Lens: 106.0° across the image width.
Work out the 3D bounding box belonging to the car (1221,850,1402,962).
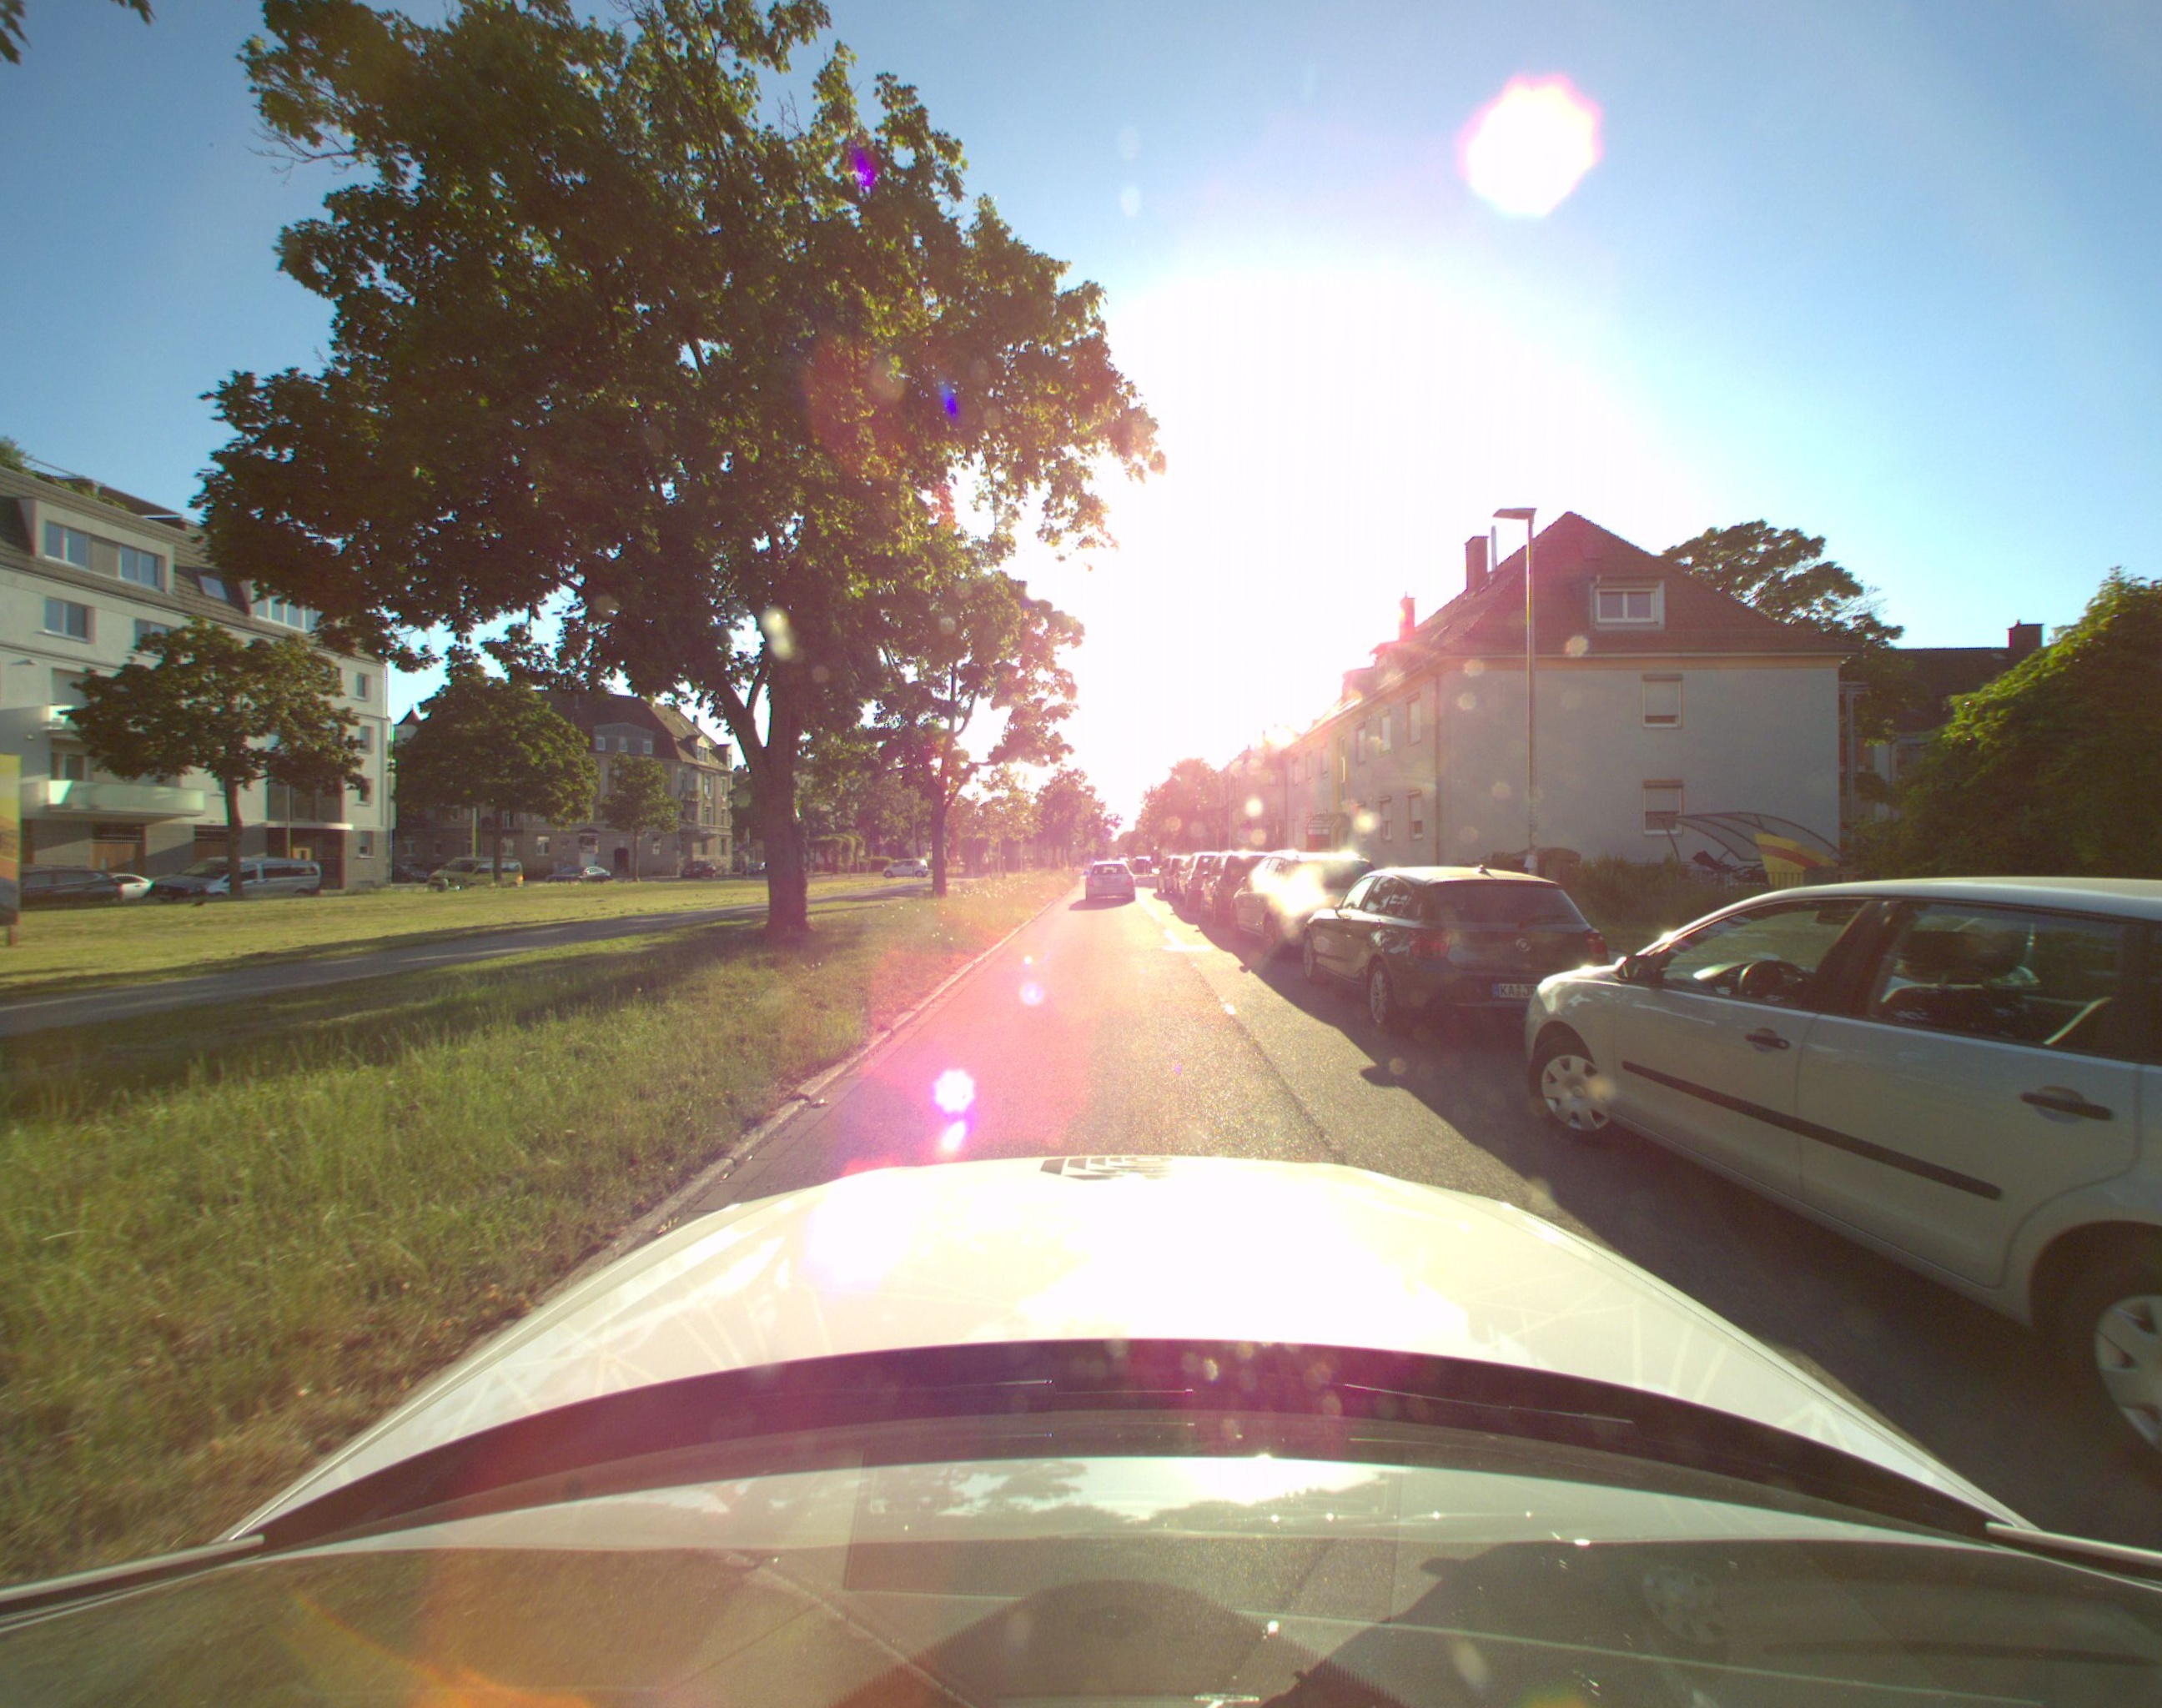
[{"bbox_3d":[3.595,0.726,13.553,1.719,1.561,4.415,0,0,-1],"label":"car"}]

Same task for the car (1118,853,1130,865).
[{"bbox_3d":[7.278,0.885,137.108,1.981,2.023,4.002,0,0,2],"label":"car"}]

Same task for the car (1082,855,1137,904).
[{"bbox_3d":[1.065,0.860,29.554,1.816,1.566,4.003,-2,0,2],"label":"car"}]

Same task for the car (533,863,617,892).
[{"bbox_3d":[-32.070,1.457,51.795,1.975,1.637,4.832,-4,-1,4],"label":"car"}]

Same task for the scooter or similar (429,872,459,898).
[{"bbox_3d":[-28.123,1.362,35.993,0.391,1.127,1.294,0,-1,-5],"label":"scooter or similar"}]

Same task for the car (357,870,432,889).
[{"bbox_3d":[-49.369,1.839,58.639,3.972,1.218,1.695,-1,0,1],"label":"car"}]

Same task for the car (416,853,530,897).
[{"bbox_3d":[-32.148,1.097,43.279,1.986,2.057,5.055,-4,-1,2],"label":"car"}]

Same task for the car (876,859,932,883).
[{"bbox_3d":[-13.871,1.351,63.972,3.883,1.596,1.998,-4,-1,-2],"label":"car"}]

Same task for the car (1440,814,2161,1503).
[{"bbox_3d":[3.330,0.758,3.429,1.722,1.548,4.207,4,-1,0],"label":"car"}]

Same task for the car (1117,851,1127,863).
[{"bbox_3d":[7.754,0.648,155.169,1.854,2.193,5.073,0,0,3],"label":"car"}]

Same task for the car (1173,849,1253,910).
[{"bbox_3d":[3.908,0.719,24.798,1.770,1.643,4.758,-1,-1,2],"label":"car"}]

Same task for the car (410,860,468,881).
[{"bbox_3d":[-54.026,1.392,68.622,1.591,1.716,3.973,-1,0,4],"label":"car"}]

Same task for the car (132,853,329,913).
[{"bbox_3d":[-32.780,1.086,31.712,2.013,2.001,5.368,-4,-1,-1],"label":"car"}]

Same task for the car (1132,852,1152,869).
[{"bbox_3d":[5.867,0.675,78.786,1.714,1.597,4.002,-1,-1,2],"label":"car"}]

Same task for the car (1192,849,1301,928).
[{"bbox_3d":[3.772,0.746,19.360,1.759,1.635,4.766,1,-1,2],"label":"car"}]

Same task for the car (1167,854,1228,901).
[{"bbox_3d":[4.189,0.800,29.732,1.723,1.526,3.736,-2,0,1],"label":"car"}]

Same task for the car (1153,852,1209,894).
[{"bbox_3d":[4.239,0.775,34.991,1.712,1.639,4.561,1,0,-1],"label":"car"}]

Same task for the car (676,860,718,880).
[{"bbox_3d":[-36.460,1.524,77.375,1.636,1.707,4.297,-4,-1,3],"label":"car"}]

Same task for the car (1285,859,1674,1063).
[{"bbox_3d":[3.544,0.805,8.374,1.985,1.462,4.565,1,0,3],"label":"car"}]

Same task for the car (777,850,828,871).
[{"bbox_3d":[-37.963,0.863,111.218,6.332,2.720,1.984,-1,0,-29],"label":"car"}]
